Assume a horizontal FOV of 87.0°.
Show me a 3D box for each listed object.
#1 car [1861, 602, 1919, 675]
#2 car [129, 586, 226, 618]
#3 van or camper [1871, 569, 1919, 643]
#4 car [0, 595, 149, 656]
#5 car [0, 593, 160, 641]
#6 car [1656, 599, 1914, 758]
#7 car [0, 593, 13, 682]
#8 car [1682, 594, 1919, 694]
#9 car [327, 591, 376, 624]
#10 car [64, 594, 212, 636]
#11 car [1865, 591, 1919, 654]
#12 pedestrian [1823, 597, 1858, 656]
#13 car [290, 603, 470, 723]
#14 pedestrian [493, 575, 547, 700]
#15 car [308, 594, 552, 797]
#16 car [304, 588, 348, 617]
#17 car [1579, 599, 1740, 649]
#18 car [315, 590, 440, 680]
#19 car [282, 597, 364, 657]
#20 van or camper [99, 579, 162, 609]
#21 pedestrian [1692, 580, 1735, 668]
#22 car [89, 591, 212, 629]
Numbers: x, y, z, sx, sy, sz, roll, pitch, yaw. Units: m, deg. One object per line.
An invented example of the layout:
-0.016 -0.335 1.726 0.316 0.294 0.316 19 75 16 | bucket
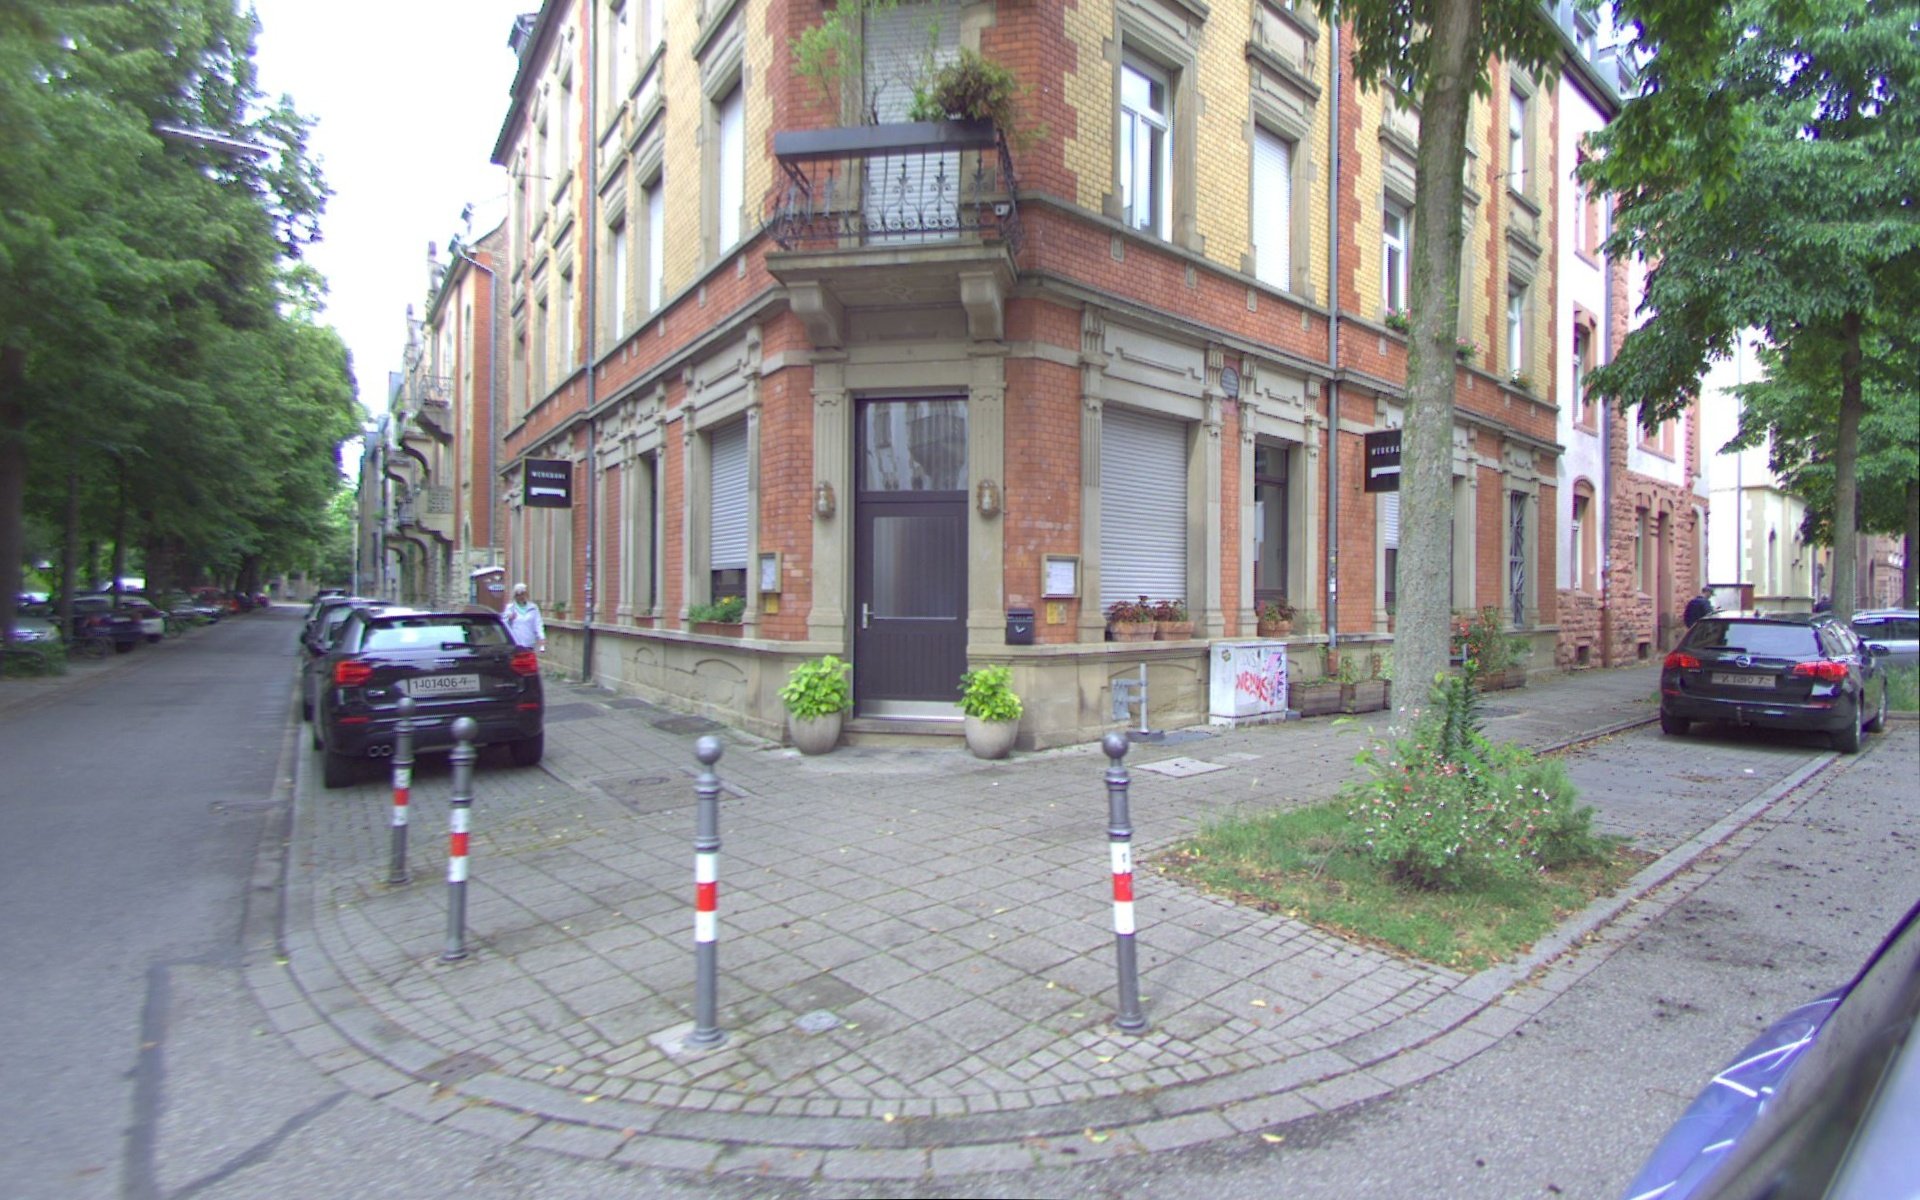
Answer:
22.428 0.847 22.301 3.433 1.583 1.771 0 -1 26 | car
-41.549 0.102 53.781 3.927 1.631 1.738 0 0 3 | car
36.208 0.226 36.143 5.002 2.623 2.062 0 0 18 | van or camper
-23.453 0.616 26.544 3.951 1.482 1.653 0 0 21 | car
-27.344 0.513 31.278 3.927 1.408 1.738 0 0 3 | car
10.024 0.785 12.166 4.403 1.504 1.767 0 2 -43 | car
-17.938 0.606 16.820 3.951 1.482 1.653 0 0 21 | car
14.953 0.713 16.833 4.381 1.445 1.751 2 2 15 | car
-29.377 0.336 48.891 1.960 1.515 4.336 0 0 -31 | car
-28.963 0.516 35.721 3.927 1.408 1.738 0 0 3 | car
28.883 0.659 29.051 1.686 1.834 4.003 0 0 -31 | car
27.770 0.834 31.918 0.803 1.835 0.702 1 -1 -41 | pedestrian
-8.442 0.775 14.743 1.961 1.371 4.336 -2 1 -31 | car
-6.358 0.515 14.604 0.552 1.727 0.750 -4 2 -30 | pedestrian
-5.377 0.742 10.018 1.629 1.559 3.834 -2 1 -35 | car
-35.246 0.124 56.307 1.960 1.515 4.336 0 0 -31 | car
22.223 0.718 32.262 1.582 1.472 3.992 0 0 -42 | car
-11.848 0.626 20.578 1.961 1.552 4.336 -2 1 -31 | car
-18.083 0.697 28.846 1.809 1.514 4.277 -2 1 -31 | car
-87.234 -0.655 106.496 1.994 3.073 4.961 0 0 45 | van or camper
15.331 0.477 20.587 0.652 1.755 0.598 1 0 -44 | pedestrian
-34.376 0.408 43.039 3.927 1.550 1.738 0 0 3 | car
